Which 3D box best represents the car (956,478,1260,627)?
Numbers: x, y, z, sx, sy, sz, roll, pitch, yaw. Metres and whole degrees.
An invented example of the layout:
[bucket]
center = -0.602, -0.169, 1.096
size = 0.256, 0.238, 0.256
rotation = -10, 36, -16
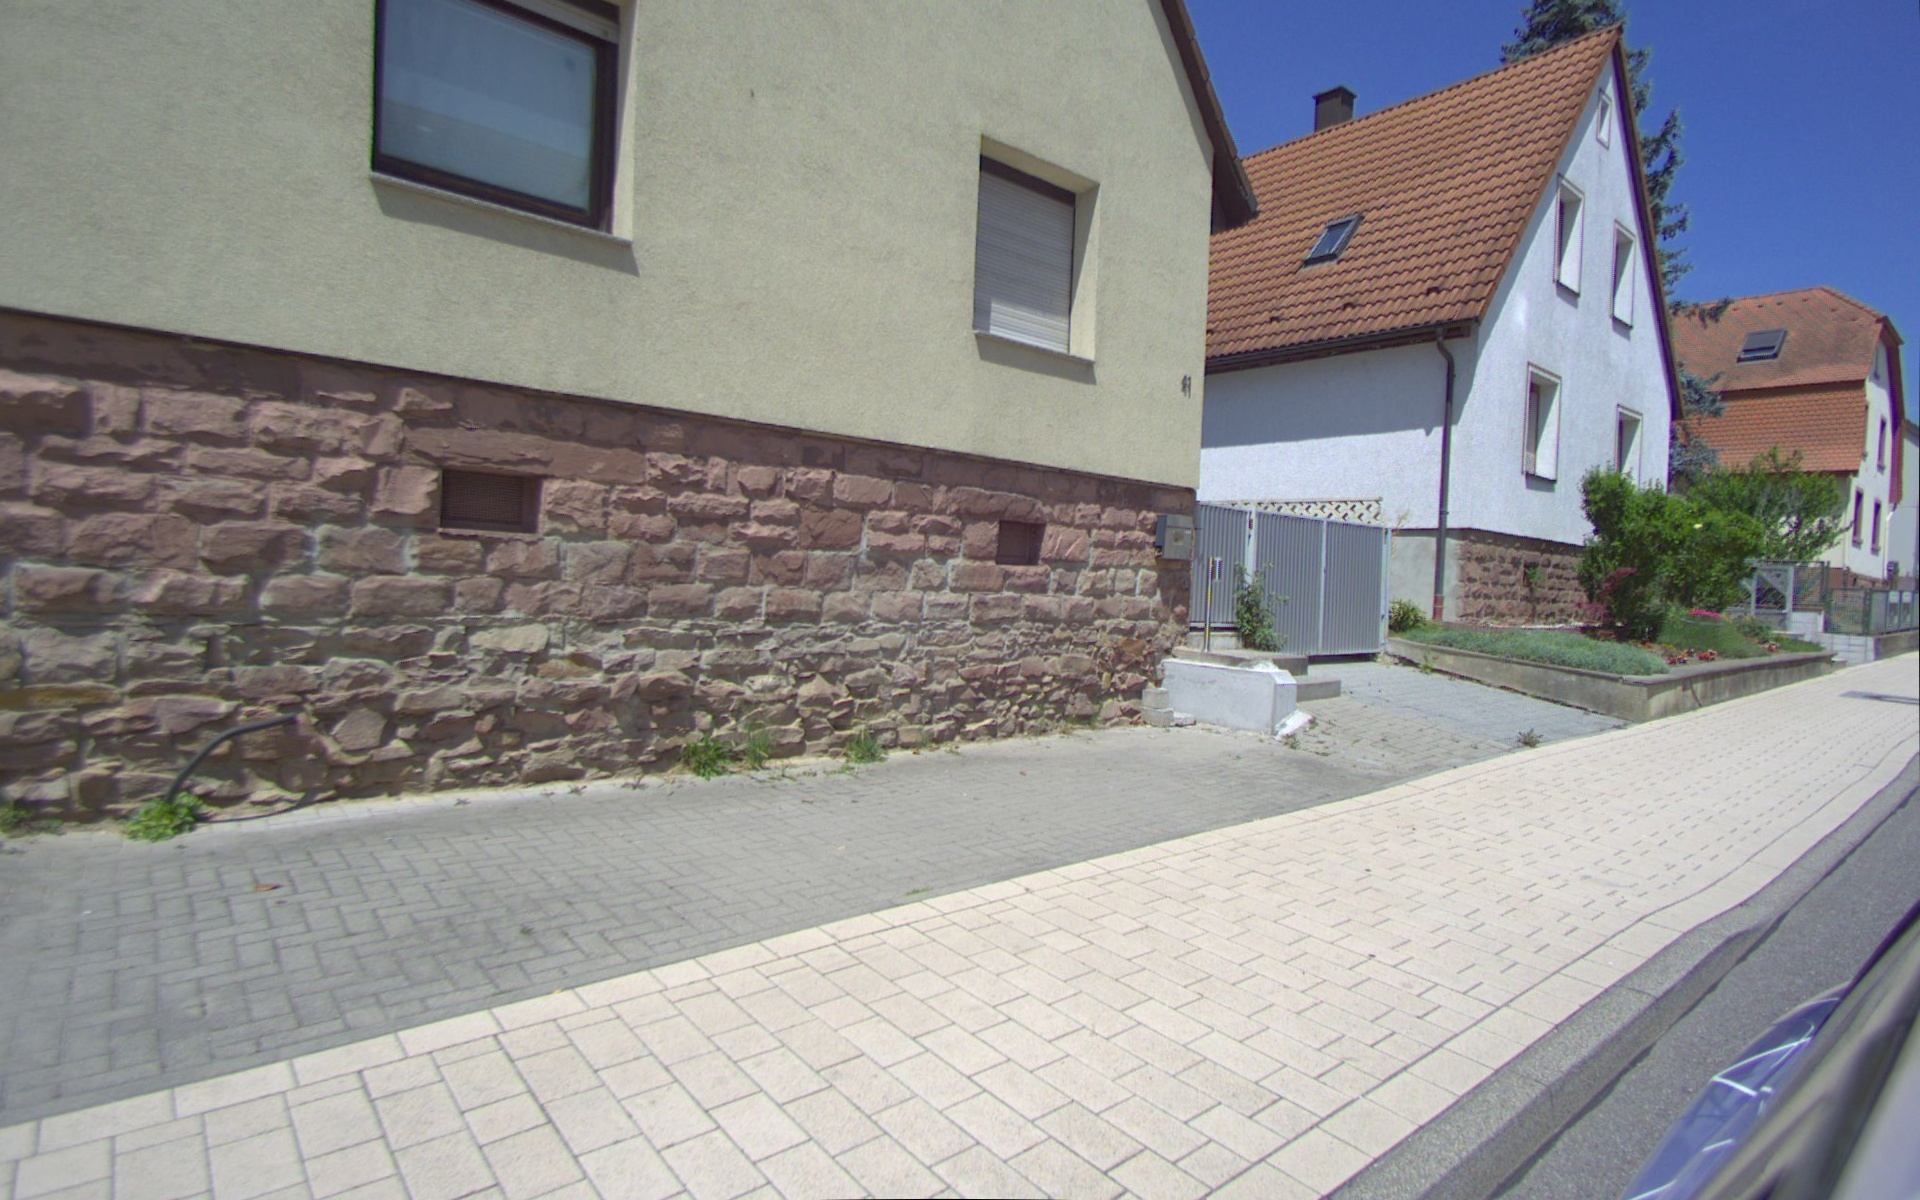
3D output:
[car]
center = 1.877, -0.575, 13.795
size = 1.661, 1.727, 3.993
rotation = 0, 1, -41
